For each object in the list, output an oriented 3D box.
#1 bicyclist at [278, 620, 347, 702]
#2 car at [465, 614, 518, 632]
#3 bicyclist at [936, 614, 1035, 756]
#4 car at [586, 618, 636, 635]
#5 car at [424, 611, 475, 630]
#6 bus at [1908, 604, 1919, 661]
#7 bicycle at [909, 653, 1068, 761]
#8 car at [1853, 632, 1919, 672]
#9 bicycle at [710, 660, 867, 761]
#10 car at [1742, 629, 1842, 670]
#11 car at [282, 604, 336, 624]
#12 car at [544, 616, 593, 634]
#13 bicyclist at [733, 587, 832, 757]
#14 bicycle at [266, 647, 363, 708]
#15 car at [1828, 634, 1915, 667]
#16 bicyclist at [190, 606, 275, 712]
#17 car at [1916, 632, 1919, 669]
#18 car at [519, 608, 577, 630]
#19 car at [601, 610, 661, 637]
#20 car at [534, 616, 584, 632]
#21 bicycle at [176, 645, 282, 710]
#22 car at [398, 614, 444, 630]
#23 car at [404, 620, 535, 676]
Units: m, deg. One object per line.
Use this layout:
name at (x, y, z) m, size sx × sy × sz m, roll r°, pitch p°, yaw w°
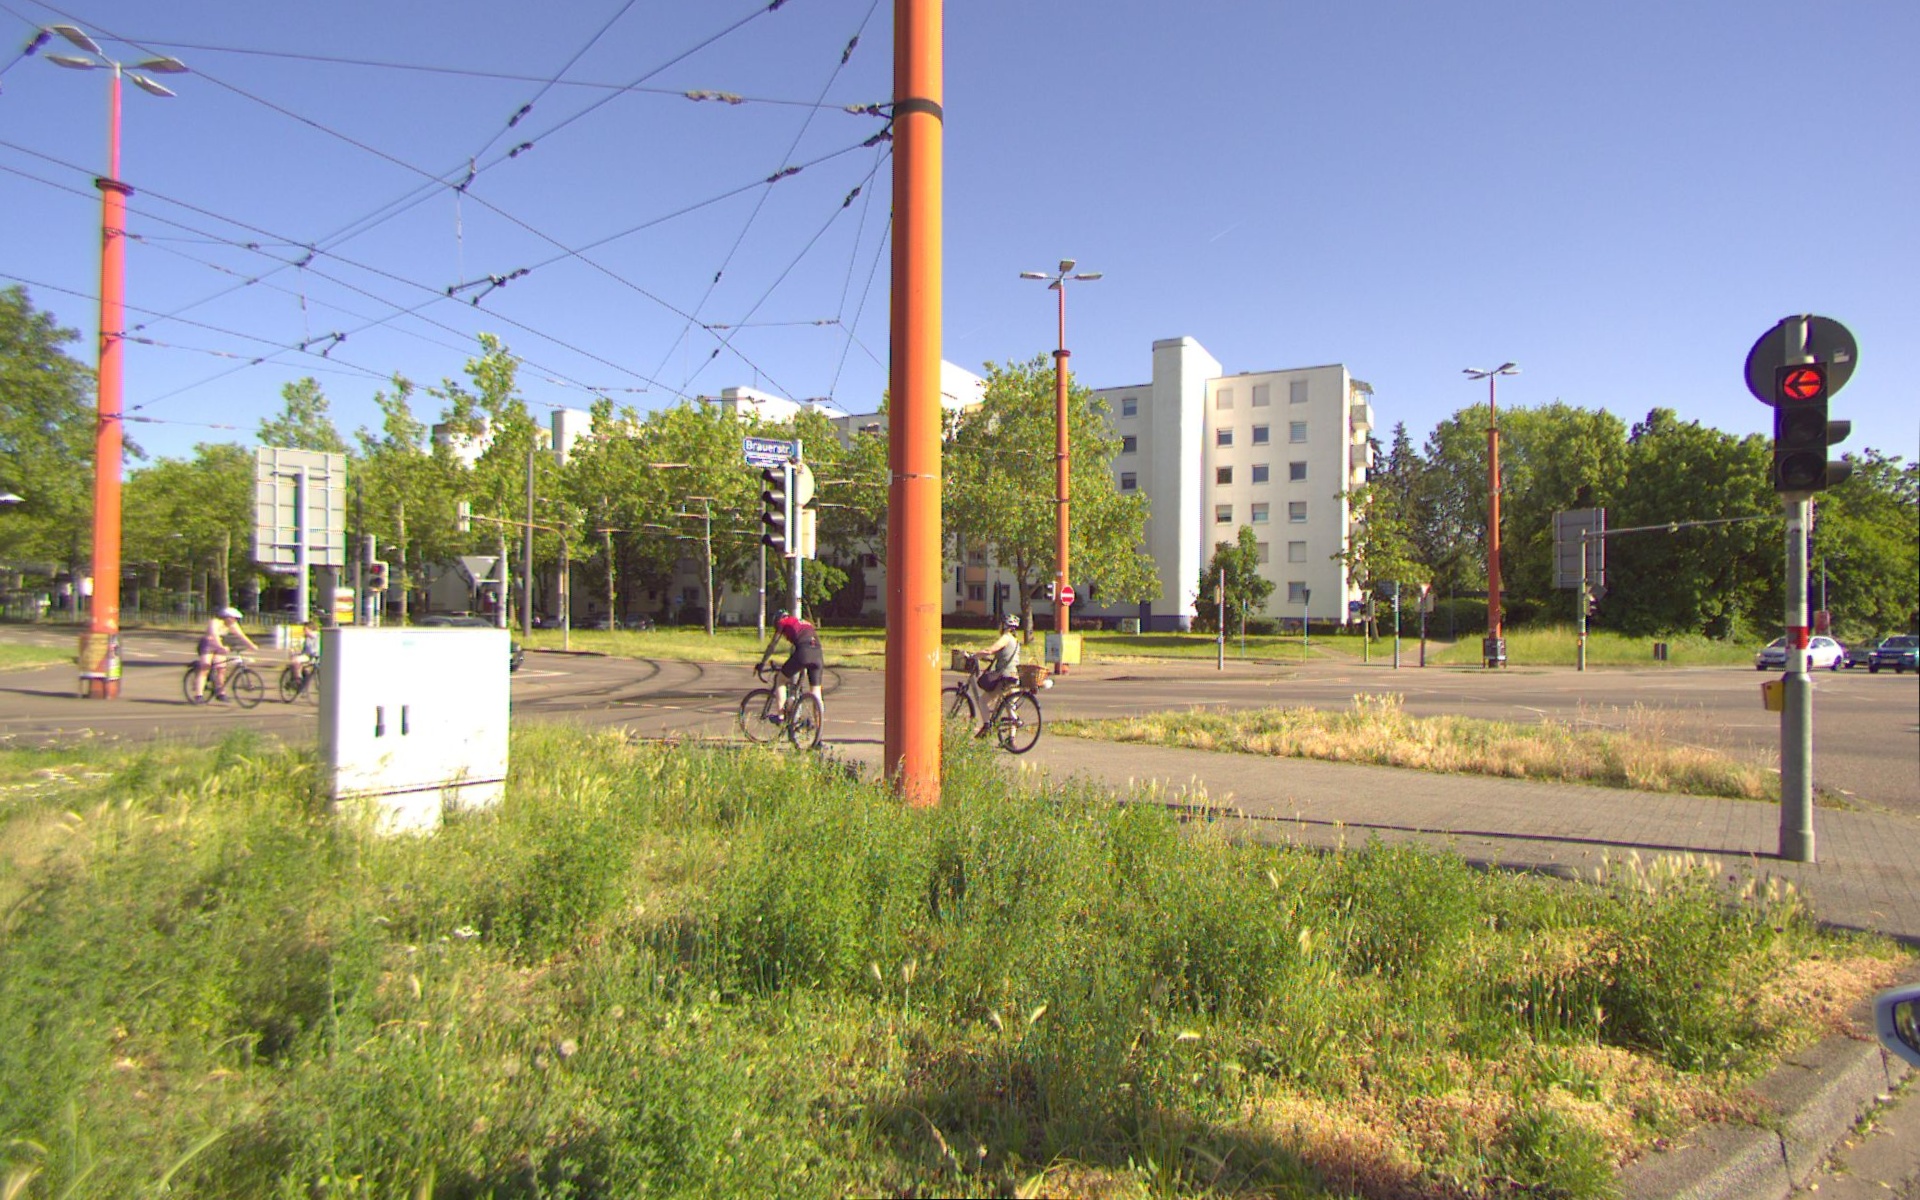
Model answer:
bicyclist at (-12.891, 1.195, 20.011) m, size 0.906 × 1.545 × 0.720 m, roll 2°, pitch 0°, yaw 20°
car at (-38.832, 1.905, 83.396) m, size 3.665 × 1.349 × 1.496 m, roll 2°, pitch 0°, yaw -8°
bicyclist at (0.319, 0.997, 12.233) m, size 0.815 × 1.643 × 0.888 m, roll 0°, pitch -1°, yaw 41°
car at (-25.824, 1.984, 74.320) m, size 3.279 × 1.149 × 1.321 m, roll 2°, pitch 0°, yaw -11°
car at (-43.251, 1.748, 85.108) m, size 3.592 × 1.480 × 1.608 m, roll 2°, pitch 0°, yaw -19°
bus at (61.862, 2.095, 61.016) m, size 12.384 × 3.304 × 2.634 m, roll 2°, pitch 0°, yaw -29°
bicycle at (0.320, 1.247, 12.191) m, size 1.887 × 1.146 × 0.737 m, roll 0°, pitch -1°, yaw 41°
car at (37.303, 2.038, 39.767) m, size 3.813 × 1.535 × 1.793 m, roll 1°, pitch -3°, yaw -30°
bicycle at (-2.070, 1.280, 12.009) m, size 1.883 × 1.085 × 0.690 m, roll -2°, pitch -2°, yaw 33°
car at (35.372, 2.108, 42.689) m, size 4.168 × 1.673 × 1.869 m, roll 2°, pitch -3°, yaw -29°
car at (-66.292, 1.447, 102.367) m, size 4.274 × 2.010 × 1.932 m, roll 1°, pitch -1°, yaw -19°
car at (-29.321, 1.877, 75.347) m, size 3.219 × 1.172 × 1.357 m, roll 2°, pitch 0°, yaw -12°
bicyclist at (-2.133, 0.841, 12.053) m, size 0.974 × 1.938 × 0.685 m, roll -1°, pitch -2°, yaw 33°
bicycle at (-12.853, 1.529, 20.003) m, size 1.878 × 1.086 × 0.580 m, roll 2°, pitch 0°, yaw 19°
car at (43.142, 2.372, 47.533) m, size 3.952 × 1.533 × 1.877 m, roll 1°, pitch -2°, yaw -29°
bicyclist at (-13.593, 1.076, 18.782) m, size 0.905 × 1.892 × 0.893 m, roll 2°, pitch 0°, yaw 17°
car at (42.613, 2.167, 42.717) m, size 3.955 × 1.575 × 1.891 m, roll 2°, pitch -2°, yaw -32°
car at (-32.541, 1.494, 79.440) m, size 3.868 × 1.614 × 1.656 m, roll 2°, pitch 0°, yaw -8°
car at (-23.660, 1.691, 72.303) m, size 3.874 × 1.841 × 1.651 m, roll 2°, pitch 0°, yaw -13°
car at (-30.889, 1.844, 77.444) m, size 3.346 × 1.162 × 1.305 m, roll 2°, pitch 0°, yaw -13°
bicycle at (-13.637, 1.432, 18.740) m, size 1.877 × 1.086 × 0.580 m, roll 2°, pitch 0°, yaw 17°
car at (-46.618, 1.911, 86.963) m, size 3.370 × 1.204 × 1.439 m, roll 2°, pitch 0°, yaw -23°
car at (-15.216, 1.434, 31.104) m, size 3.977 × 1.516 × 1.913 m, roll 2°, pitch 0°, yaw 34°
